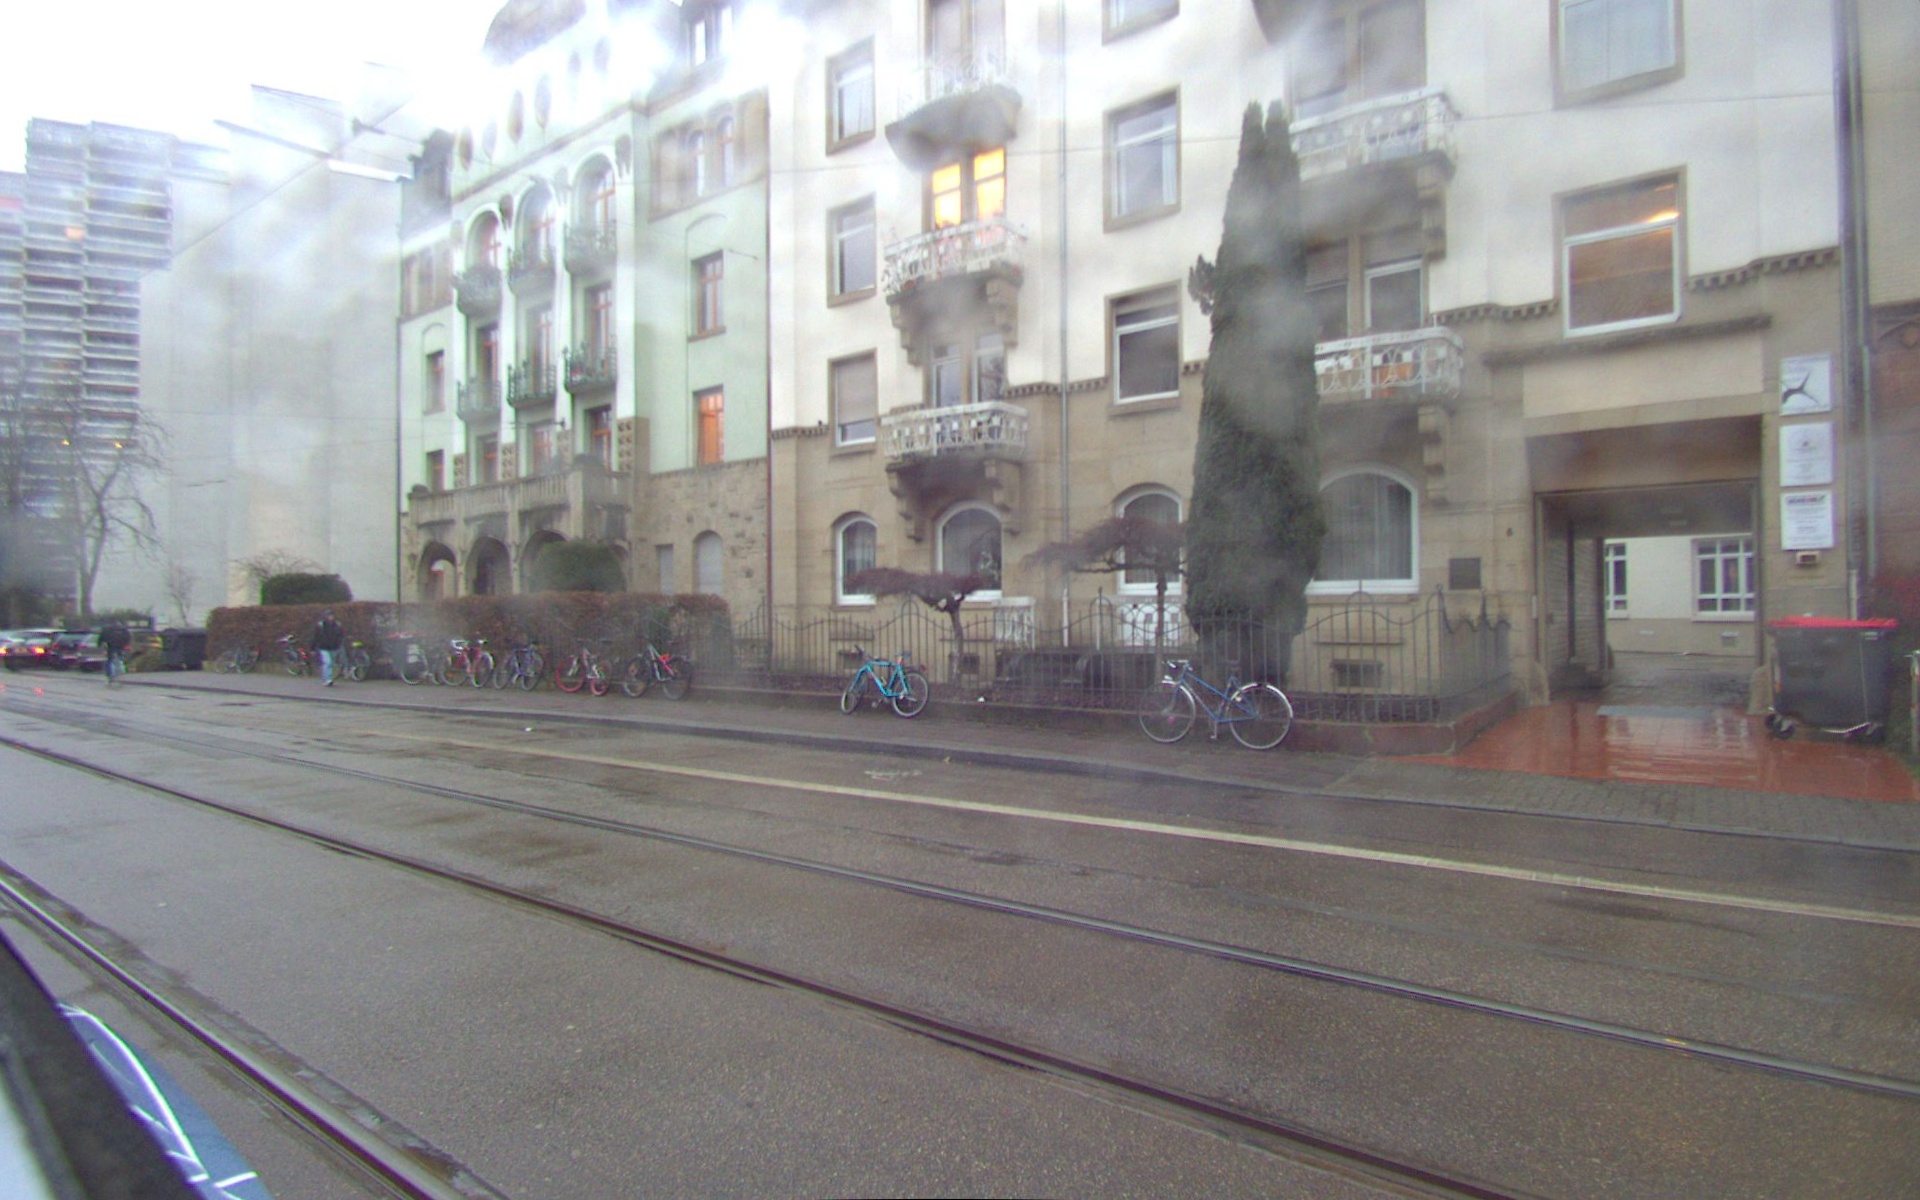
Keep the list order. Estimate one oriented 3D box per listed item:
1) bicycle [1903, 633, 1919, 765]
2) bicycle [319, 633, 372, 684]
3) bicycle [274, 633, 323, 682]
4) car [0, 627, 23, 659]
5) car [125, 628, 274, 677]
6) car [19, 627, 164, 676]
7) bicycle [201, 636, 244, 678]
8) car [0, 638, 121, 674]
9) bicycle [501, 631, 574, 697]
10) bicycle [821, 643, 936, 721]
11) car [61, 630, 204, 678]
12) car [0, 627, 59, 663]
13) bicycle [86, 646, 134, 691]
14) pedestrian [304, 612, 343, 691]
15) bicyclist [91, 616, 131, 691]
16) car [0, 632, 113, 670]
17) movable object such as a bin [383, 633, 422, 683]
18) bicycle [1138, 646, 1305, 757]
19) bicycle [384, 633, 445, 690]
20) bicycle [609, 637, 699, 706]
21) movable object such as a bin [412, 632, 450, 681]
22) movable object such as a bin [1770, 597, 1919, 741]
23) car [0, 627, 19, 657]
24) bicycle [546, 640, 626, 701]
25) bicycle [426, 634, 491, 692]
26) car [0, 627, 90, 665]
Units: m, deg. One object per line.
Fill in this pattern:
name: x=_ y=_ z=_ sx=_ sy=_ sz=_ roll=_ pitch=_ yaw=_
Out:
bicycle: x=8.682 y=0.899 z=8.656 sx=0.694 sy=1.114 sz=2.326 roll=-2 pitch=1 yaw=38
bicycle: x=-15.232 y=1.428 z=25.074 sx=1.661 sy=1.221 sz=0.617 roll=-2 pitch=-2 yaw=40
bicycle: x=-17.281 y=1.490 z=26.431 sx=1.661 sy=1.221 sz=0.617 roll=-2 pitch=-2 yaw=40
car: x=-49.970 y=2.215 z=51.000 sx=1.843 sy=1.608 sz=3.999 roll=-1 pitch=-1 yaw=0
car: x=-26.011 y=1.768 z=34.788 sx=1.847 sy=1.505 sz=3.989 roll=-1 pitch=-1 yaw=8
car: x=-31.353 y=1.834 z=36.710 sx=1.843 sy=1.608 sz=3.999 roll=-1 pitch=-1 yaw=0
bicycle: x=-21.501 y=1.653 z=29.508 sx=1.661 sy=1.173 sz=0.617 roll=-2 pitch=-1 yaw=40
car: x=-33.242 y=2.027 z=37.279 sx=1.687 sy=1.262 sz=3.666 roll=0 pitch=-2 yaw=-1
bicycle: x=-8.271 y=1.230 z=19.785 sx=1.661 sy=1.221 sz=0.617 roll=-2 pitch=-2 yaw=40
bicycle: x=-1.164 y=1.122 z=14.244 sx=1.661 sy=1.010 sz=0.617 roll=-2 pitch=-2 yaw=40
car: x=-28.733 y=1.838 z=35.299 sx=1.740 sy=1.497 sz=3.999 roll=-1 pitch=-1 yaw=0
car: x=-44.705 y=2.086 z=47.209 sx=1.843 sy=1.608 sz=3.999 roll=-1 pitch=-1 yaw=0
bicycle: x=-21.834 y=1.741 z=25.981 sx=1.946 sy=1.101 sz=0.617 roll=-2 pitch=-2 yaw=40
pedestrian: x=-14.590 y=1.165 z=23.191 sx=0.644 sy=1.738 sz=0.567 roll=0 pitch=1 yaw=41
bicyclist: x=-21.700 y=1.349 z=25.870 sx=0.990 sy=1.891 sz=0.617 roll=-2 pitch=-2 yaw=40
car: x=-39.088 y=2.163 z=43.602 sx=1.843 sy=1.460 sz=3.999 roll=-1 pitch=-1 yaw=0
movable object such as a bin: x=-13.560 y=1.406 z=24.615 sx=0.674 sy=1.173 sz=0.651 roll=-2 pitch=-2 yaw=40
bicycle: x=2.840 y=1.073 z=11.088 sx=1.661 sy=1.101 sz=0.617 roll=-2 pitch=-2 yaw=40
bicycle: x=-12.193 y=1.352 z=22.597 sx=1.661 sy=1.221 sz=0.617 roll=-2 pitch=-2 yaw=40
bicycle: x=-5.297 y=1.204 z=17.452 sx=1.781 sy=1.134 sz=0.617 roll=-2 pitch=-2 yaw=40
movable object such as a bin: x=-13.129 y=1.389 z=25.118 sx=0.674 sy=1.173 sz=0.617 roll=-2 pitch=-2 yaw=40
movable object such as a bin: x=9.392 y=0.694 z=10.775 sx=1.166 sy=1.390 sz=1.092 roll=-2 pitch=1 yaw=39
car: x=-52.145 y=2.257 z=53.081 sx=1.843 sy=1.608 sz=3.999 roll=-1 pitch=-1 yaw=0
bicycle: x=-6.916 y=1.276 z=18.684 sx=1.725 sy=1.073 sz=0.617 roll=-2 pitch=-2 yaw=40
bicycle: x=-10.578 y=1.303 z=21.326 sx=1.661 sy=1.173 sz=0.617 roll=-2 pitch=-2 yaw=40
car: x=-42.415 y=2.090 z=46.271 sx=1.843 sy=1.608 sz=3.999 roll=-1 pitch=-1 yaw=0
